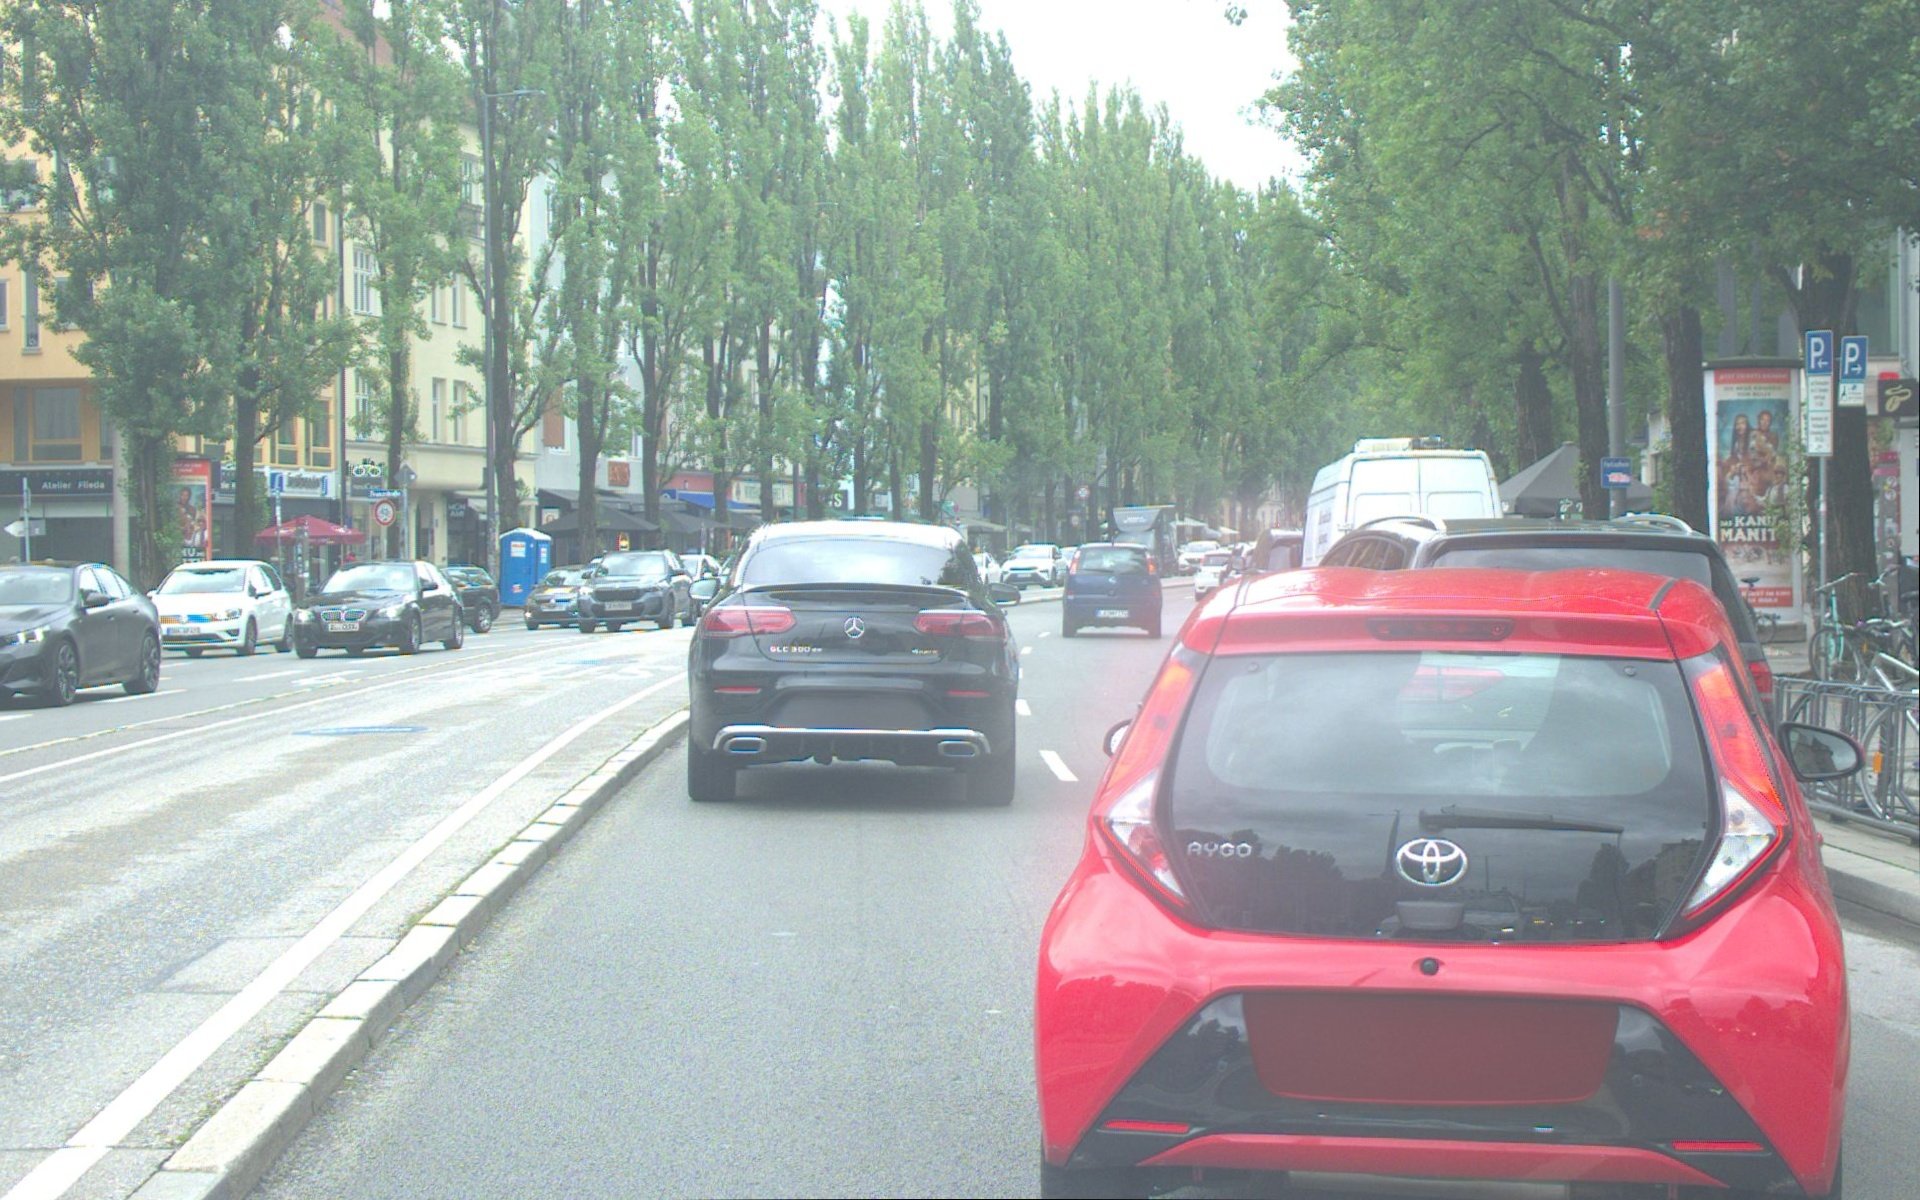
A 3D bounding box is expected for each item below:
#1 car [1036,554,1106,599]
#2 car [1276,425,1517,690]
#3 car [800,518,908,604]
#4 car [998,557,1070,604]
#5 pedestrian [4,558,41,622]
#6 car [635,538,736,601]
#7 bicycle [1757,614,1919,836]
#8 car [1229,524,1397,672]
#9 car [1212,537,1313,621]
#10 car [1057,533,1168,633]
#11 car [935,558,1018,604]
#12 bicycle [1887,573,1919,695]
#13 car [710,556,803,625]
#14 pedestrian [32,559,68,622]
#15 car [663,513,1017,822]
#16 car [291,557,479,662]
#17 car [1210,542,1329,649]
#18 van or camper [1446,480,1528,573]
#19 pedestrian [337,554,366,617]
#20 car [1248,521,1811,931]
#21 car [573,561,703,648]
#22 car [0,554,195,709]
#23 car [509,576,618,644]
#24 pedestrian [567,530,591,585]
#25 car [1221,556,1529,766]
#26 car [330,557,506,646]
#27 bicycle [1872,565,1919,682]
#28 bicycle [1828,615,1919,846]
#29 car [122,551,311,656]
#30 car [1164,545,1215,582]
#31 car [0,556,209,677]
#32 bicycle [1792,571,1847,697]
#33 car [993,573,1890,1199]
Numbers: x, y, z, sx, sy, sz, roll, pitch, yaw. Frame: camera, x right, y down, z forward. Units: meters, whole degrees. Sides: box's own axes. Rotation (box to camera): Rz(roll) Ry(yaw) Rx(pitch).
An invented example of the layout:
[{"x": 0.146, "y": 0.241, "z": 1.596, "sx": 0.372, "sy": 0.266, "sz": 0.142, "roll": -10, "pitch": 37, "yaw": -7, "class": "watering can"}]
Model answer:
[{"x": 4.261, "y": -0.905, "z": 130.865, "sx": 1.994, "sy": 1.583, "sz": 5.193, "roll": -2, "pitch": 1, "yaw": 9, "class": "car"}, {"x": 4.786, "y": -0.456, "z": 38.491, "sx": 1.993, "sy": 2.732, "sz": 5.555, "roll": 1, "pitch": 0, "yaw": 0, "class": "car"}, {"x": -3.296, "y": -1.249, "z": 108.406, "sx": 2.171, "sy": 2.596, "sz": 6.061, "roll": -1, "pitch": 1, "yaw": 10, "class": "car"}, {"x": 2.659, "y": -0.720, "z": 122.520, "sx": 1.910, "sy": 1.597, "sz": 4.353, "roll": -1, "pitch": 1, "yaw": 10, "class": "car"}, {"x": -21.513, "y": -0.233, "z": 78.876, "sx": 0.632, "sy": 1.430, "sz": 0.778, "roll": -1, "pitch": 1, "yaw": -2, "class": "pedestrian"}, {"x": -7.125, "y": -0.802, "z": 89.642, "sx": 1.953, "sy": 1.584, "sz": 3.999, "roll": -1, "pitch": 1, "yaw": 5, "class": "car"}, {"x": 4.921, "y": 0.650, "z": 17.421, "sx": 1.574, "sy": 1.050, "sz": 0.545, "roll": 5, "pitch": 3, "yaw": 37, "class": "bicycle"}, {"x": 4.557, "y": -0.064, "z": 44.961, "sx": 1.929, "sy": 1.799, "sz": 4.779, "roll": 1, "pitch": 1, "yaw": 3, "class": "car"}, {"x": 6.468, "y": -0.445, "z": 73.140, "sx": 1.925, "sy": 1.694, "sz": 4.649, "roll": 1, "pitch": 0, "yaw": 7, "class": "car"}, {"x": 2.634, "y": -0.290, "z": 58.724, "sx": 1.759, "sy": 1.614, "sz": 3.746, "roll": 1, "pitch": 0, "yaw": 4, "class": "car"}, {"x": 0.558, "y": -0.642, "z": 110.878, "sx": 1.800, "sy": 1.389, "sz": 4.688, "roll": -1, "pitch": 1, "yaw": 11, "class": "car"}, {"x": 9.406, "y": 0.326, "z": 33.140, "sx": 0.477, "sy": 1.156, "sz": 1.633, "roll": 0, "pitch": 1, "yaw": -1, "class": "bicycle"}, {"x": -4.935, "y": -0.258, "z": 83.663, "sx": 1.817, "sy": 1.540, "sz": 4.000, "roll": -3, "pitch": 1, "yaw": 2, "class": "car"}, {"x": -20.897, "y": -0.226, "z": 78.967, "sx": 0.632, "sy": 1.430, "sz": 0.778, "roll": -1, "pitch": 1, "yaw": -2, "class": "pedestrian"}, {"x": -0.670, "y": 0.324, "z": 20.817, "sx": 1.880, "sy": 1.636, "sz": 4.583, "roll": -1, "pitch": 1, "yaw": -1, "class": "car"}, {"x": -8.792, "y": 0.110, "z": 52.945, "sx": 1.836, "sy": 1.482, "sz": 4.734, "roll": -1, "pitch": 1, "yaw": 3, "class": "car"}, {"x": 5.064, "y": -0.101, "z": 56.663, "sx": 1.727, "sy": 1.680, "sz": 4.408, "roll": 0, "pitch": 1, "yaw": 2, "class": "car"}, {"x": 18.203, "y": -2.530, "z": 118.592, "sx": 2.461, "sy": 3.101, "sz": 4.713, "roll": -1, "pitch": 1, "yaw": 12, "class": "van or camper"}, {"x": -16.926, "y": -0.400, "z": 95.609, "sx": 0.539, "sy": 1.741, "sz": 0.755, "roll": 0, "pitch": 1, "yaw": 11, "class": "pedestrian"}, {"x": 2.420, "y": 0.466, "z": 15.635, "sx": 1.761, "sy": 1.608, "sz": 4.184, "roll": 0, "pitch": 1, "yaw": -1, "class": "car"}, {"x": -6.443, "y": 0.064, "z": 69.221, "sx": 1.993, "sy": 1.615, "sz": 4.413, "roll": -2, "pitch": 1, "yaw": 2, "class": "car"}, {"x": -9.918, "y": 0.294, "z": 36.912, "sx": 1.994, "sy": 1.502, "sz": 5.021, "roll": -1, "pitch": 1, "yaw": 3, "class": "car"}, {"x": -9.178, "y": 0.224, "z": 79.900, "sx": 1.784, "sy": 1.461, "sz": 4.000, "roll": -1, "pitch": 1, "yaw": 4, "class": "car"}, {"x": -12.951, "y": -1.436, "z": 116.906, "sx": 0.638, "sy": 1.855, "sz": 0.647, "roll": -1, "pitch": 1, "yaw": 11, "class": "pedestrian"}, {"x": 3.202, "y": 0.425, "z": 26.030, "sx": 1.546, "sy": 1.455, "sz": 3.430, "roll": 1, "pitch": 0, "yaw": 20, "class": "car"}, {"x": -11.355, "y": 0.030, "z": 72.235, "sx": 1.758, "sy": 1.809, "sz": 3.995, "roll": 1, "pitch": 0, "yaw": 23, "class": "car"}, {"x": 10.045, "y": 0.233, "z": 34.600, "sx": 1.629, "sy": 1.156, "sz": 0.705, "roll": 0, "pitch": 1, "yaw": 12, "class": "bicycle"}, {"x": 5.052, "y": 0.659, "z": 16.070, "sx": 1.800, "sy": 1.050, "sz": 0.545, "roll": 5, "pitch": 3, "yaw": 37, "class": "bicycle"}, {"x": -11.989, "y": 0.023, "z": 55.727, "sx": 1.993, "sy": 1.595, "sz": 4.289, "roll": -1, "pitch": 1, "yaw": 2, "class": "car"}, {"x": 11.174, "y": -1.771, "z": 166.978, "sx": 1.861, "sy": 1.705, "sz": 4.534, "roll": -2, "pitch": 1, "yaw": 11, "class": "car"}, {"x": -12.173, "y": 0.192, "z": 47.994, "sx": 1.959, "sy": 1.541, "sz": 4.947, "roll": -1, "pitch": 1, "yaw": 4, "class": "car"}, {"x": 8.292, "y": 0.310, "z": 33.126, "sx": 0.478, "sy": 1.156, "sz": 1.824, "roll": 0, "pitch": 1, "yaw": 15, "class": "bicycle"}, {"x": 1.066, "y": 0.673, "z": 8.291, "sx": 1.665, "sy": 1.441, "sz": 3.595, "roll": 1, "pitch": 0, "yaw": 5, "class": "car"}]
